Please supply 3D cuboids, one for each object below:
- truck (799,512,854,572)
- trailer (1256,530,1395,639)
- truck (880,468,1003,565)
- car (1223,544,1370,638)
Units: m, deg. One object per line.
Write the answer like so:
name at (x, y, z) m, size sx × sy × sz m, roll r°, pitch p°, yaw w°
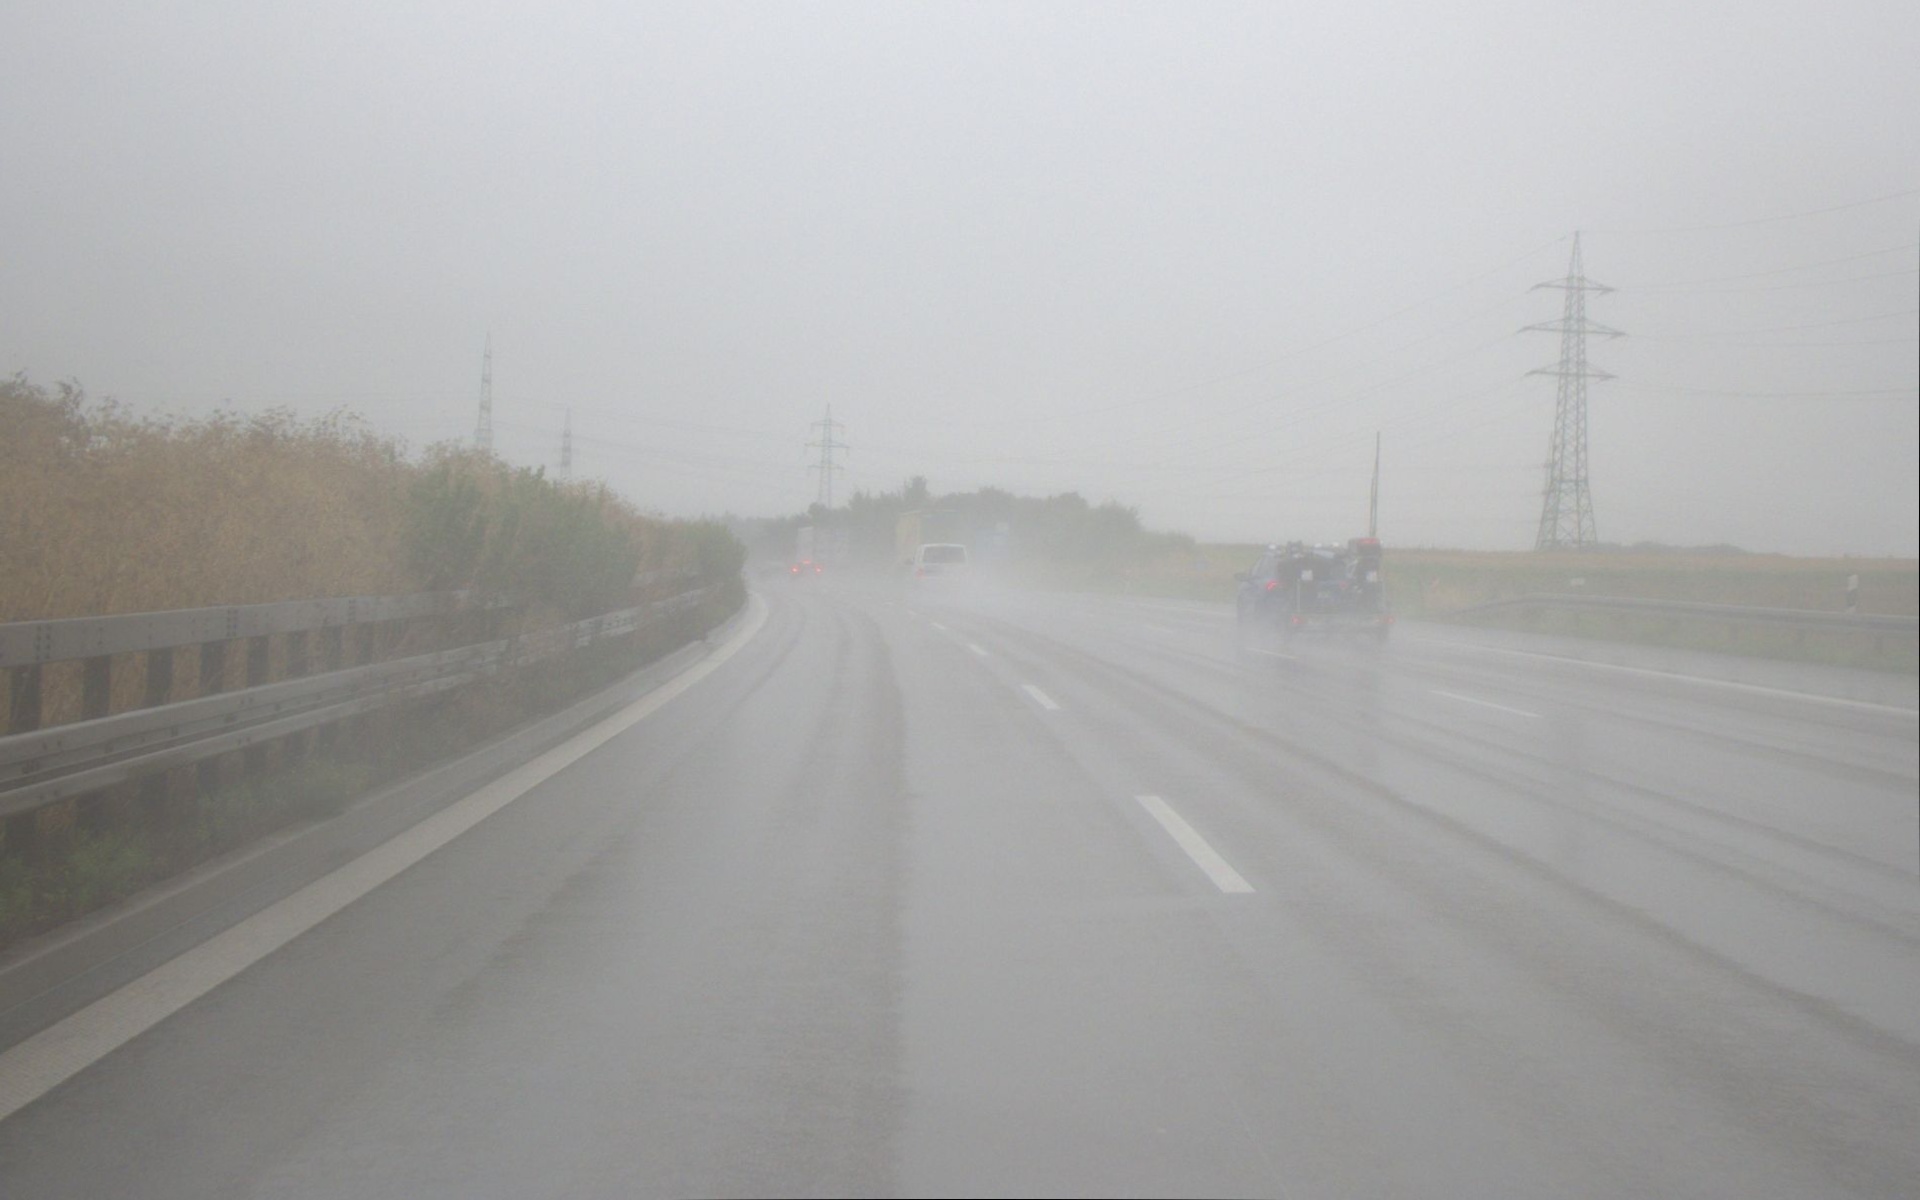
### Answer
truck at (-9.758, -4.202, 251.131) m, size 3.232 × 4.297 × 8.839 m, roll 1°, pitch 1°, yaw -7°
trailer at (6.131, -0.250, 58.039) m, size 1.979 × 1.779 × 3.189 m, roll 0°, pitch 0°, yaw 0°
truck at (-1.092, -4.199, 177.497) m, size 4.188 × 4.614 × 16.109 m, roll 1°, pitch 0°, yaw -8°
car at (6.030, -0.157, 62.120) m, size 1.993 × 1.613 × 4.993 m, roll 0°, pitch 0°, yaw -2°
